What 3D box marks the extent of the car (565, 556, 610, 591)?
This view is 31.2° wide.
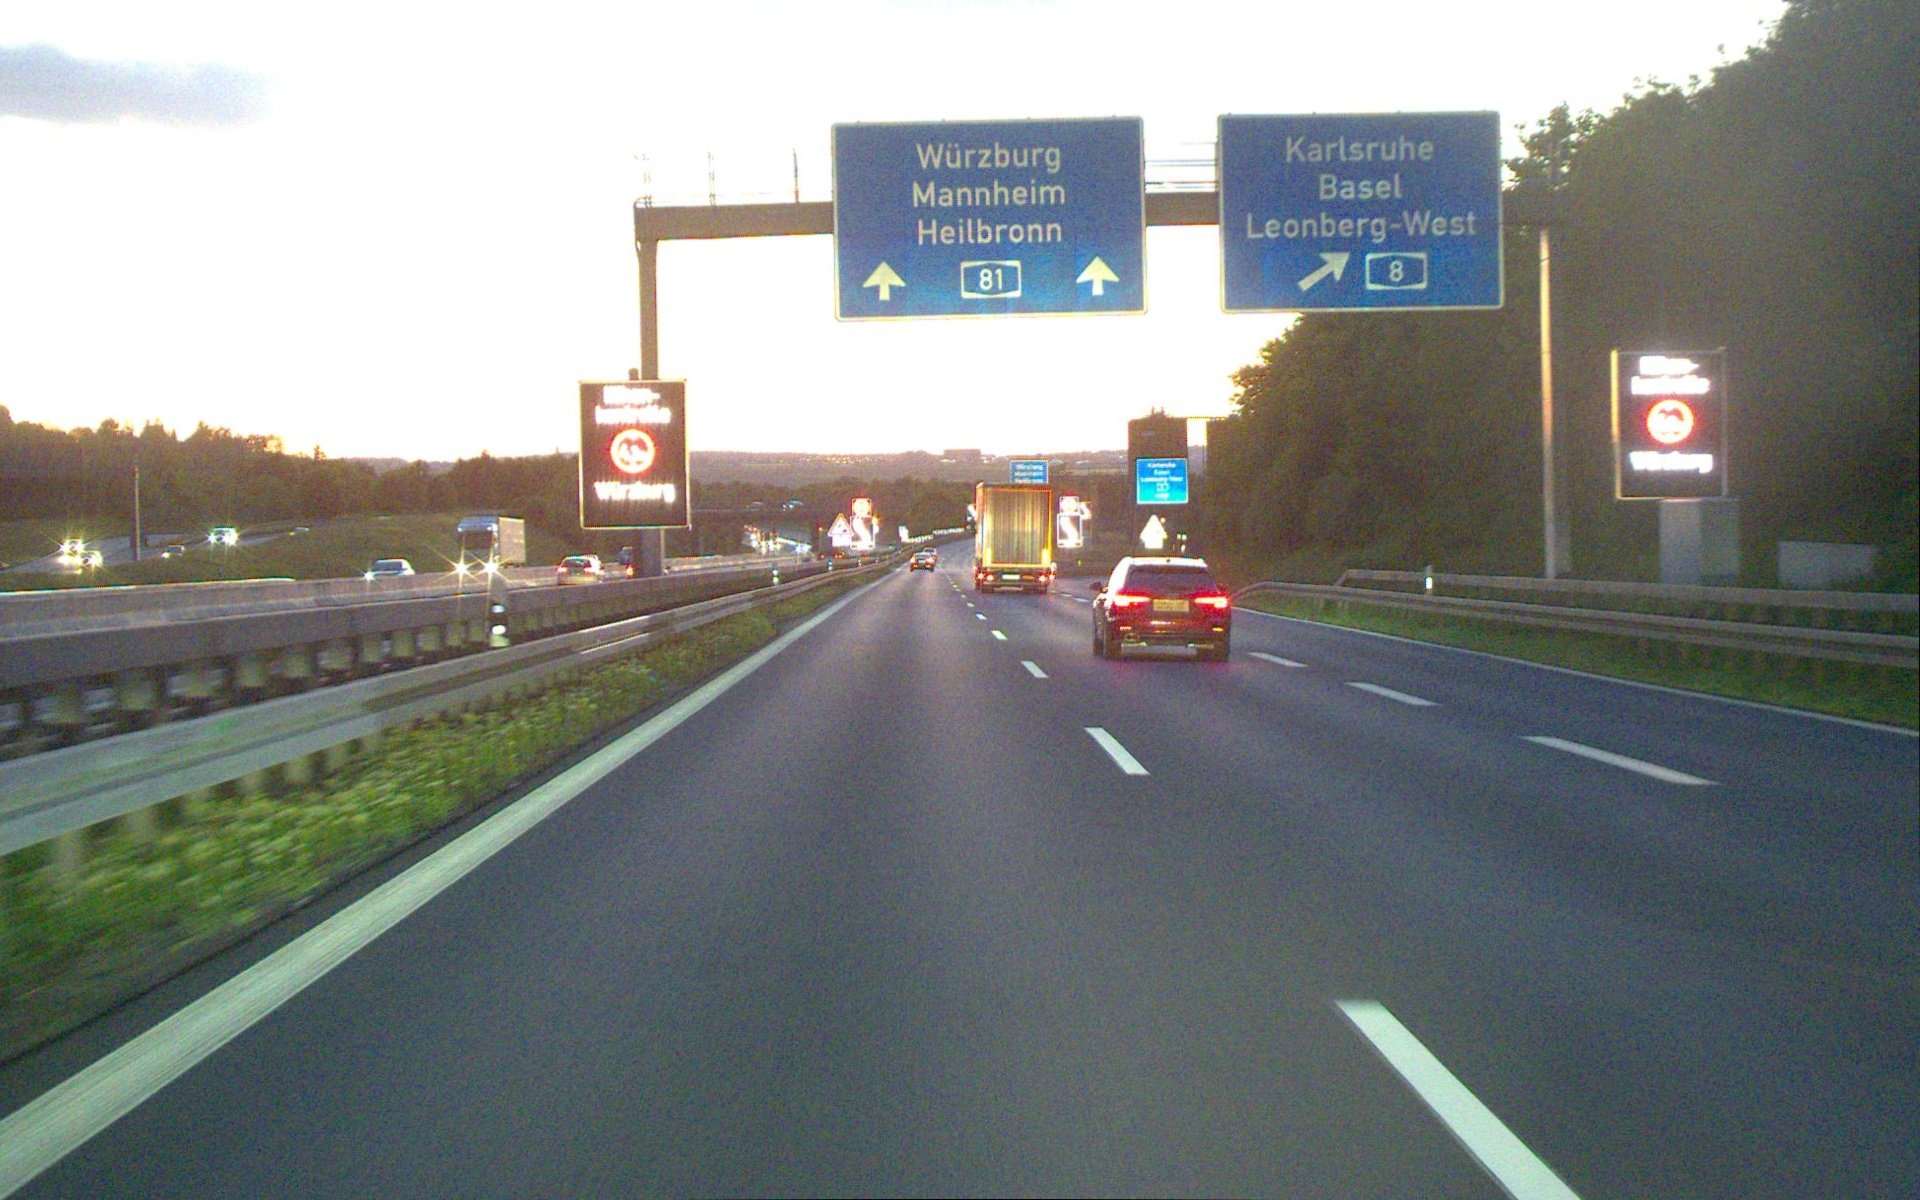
[{"bbox_3d":[-16.722,-1.197,154.442,1.638,1.541,3.395,-1,1,0],"label":"car"}]

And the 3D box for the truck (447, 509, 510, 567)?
[{"bbox_3d":[-30.953,-3.965,221.321,3.309,3.607,5.498,-1,1,-1],"label":"truck"}]

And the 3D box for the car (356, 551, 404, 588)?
[{"bbox_3d":[-27.392,-1.439,162.552,1.682,1.700,3.752,0,1,-1],"label":"car"}]

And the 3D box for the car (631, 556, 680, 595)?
[{"bbox_3d":[-12.755,-1.032,144.305,1.713,1.600,3.722,-1,1,-1],"label":"car"}]

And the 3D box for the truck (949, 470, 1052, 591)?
[{"bbox_3d":[1.434,-2.552,128.836,3.509,4.286,9.892,-1,1,-1],"label":"truck"}]

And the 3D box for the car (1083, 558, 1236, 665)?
[{"bbox_3d":[2.835,0.135,49.627,1.915,1.437,4.000,-1,1,-1],"label":"car"}]
